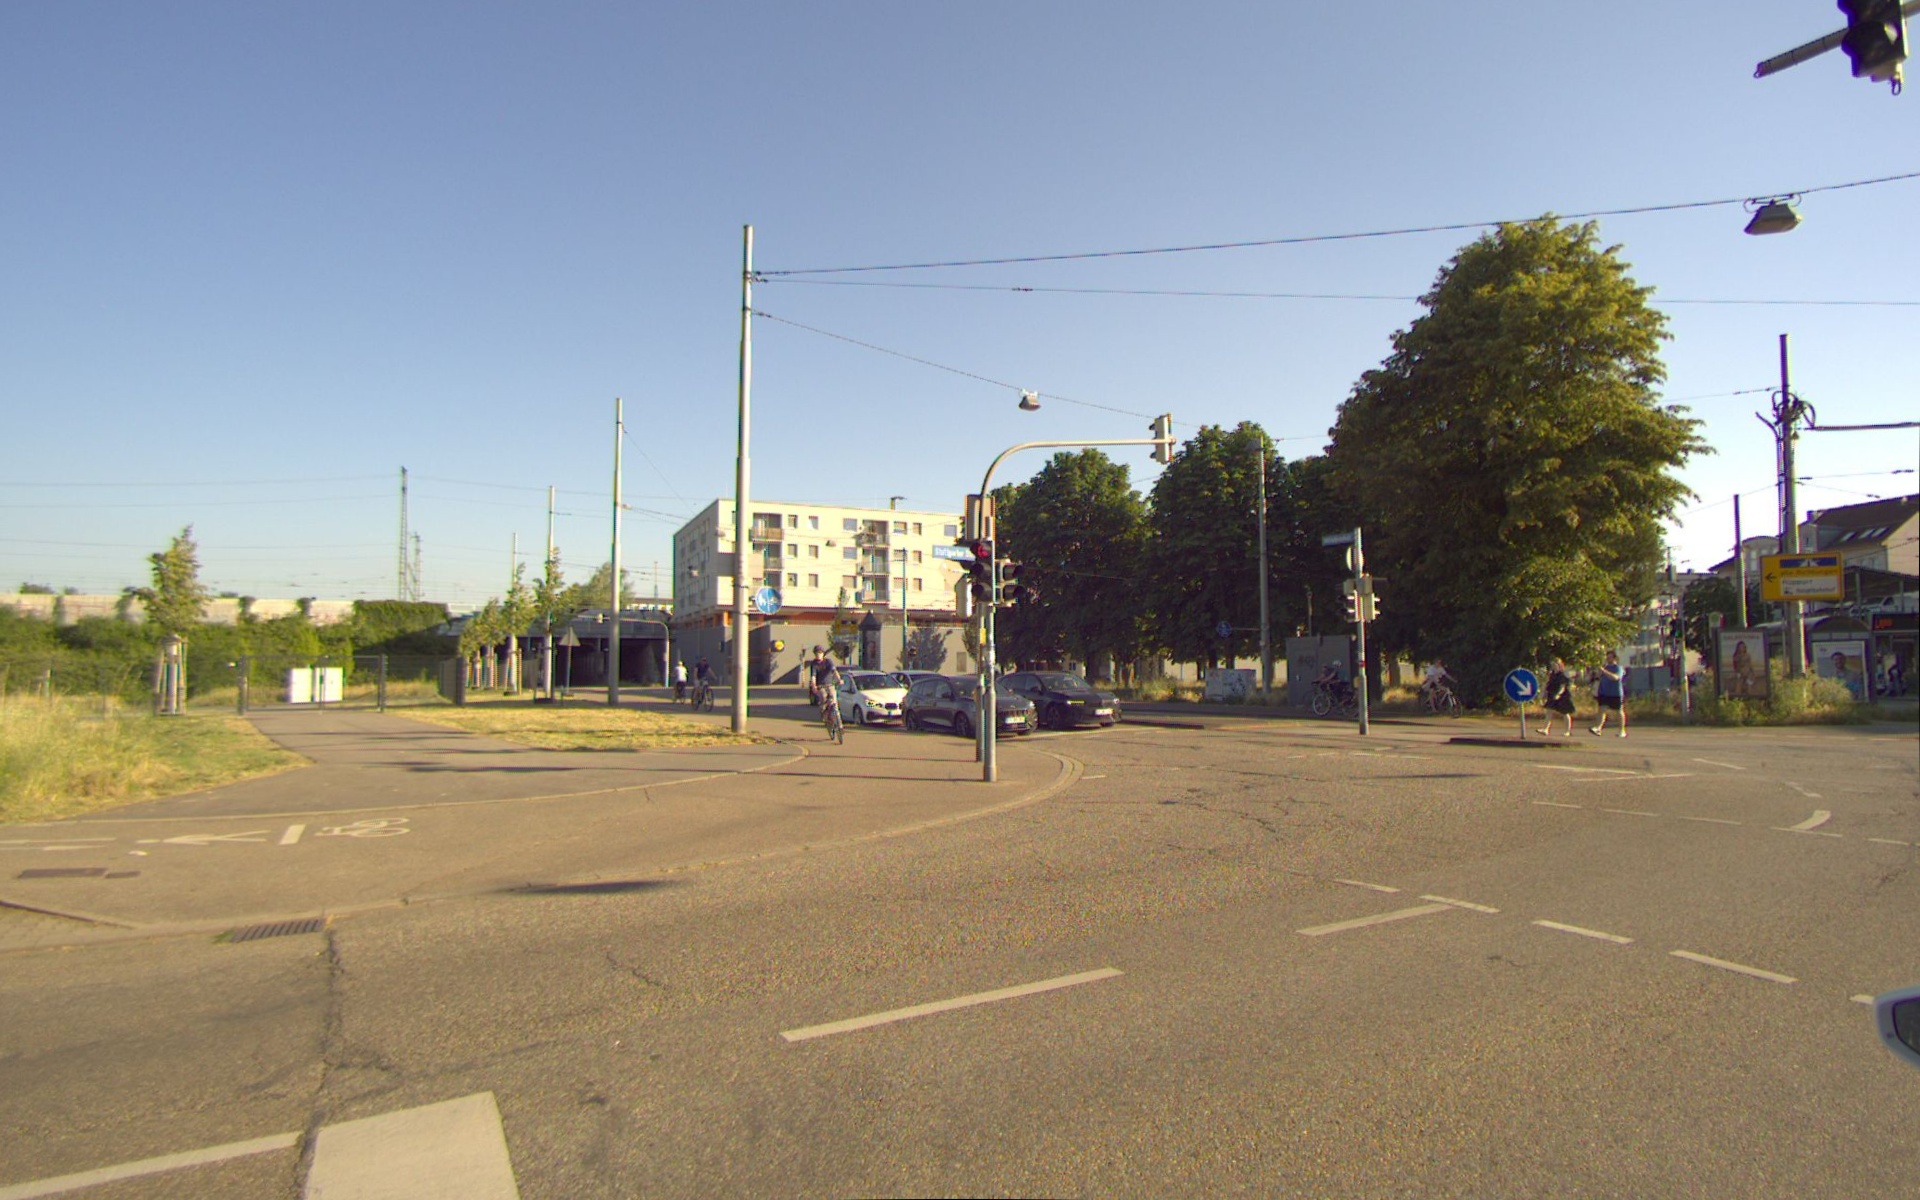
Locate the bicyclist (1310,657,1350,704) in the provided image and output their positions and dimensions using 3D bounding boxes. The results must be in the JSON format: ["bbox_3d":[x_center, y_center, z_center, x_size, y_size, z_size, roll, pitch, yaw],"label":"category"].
[{"bbox_3d":[12.355,2.688,33.563,0.656,1.551,1.024,3,-5,-44],"label":"bicyclist"}]

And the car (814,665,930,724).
[{"bbox_3d":[-2.703,2.747,29.833,1.975,1.587,4.246,2,-4,-27],"label":"car"}]

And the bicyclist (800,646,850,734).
[{"bbox_3d":[-2.632,1.733,19.498,0.863,1.645,0.970,1,-4,-14],"label":"bicyclist"}]

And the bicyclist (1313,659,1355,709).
[{"bbox_3d":[11.869,2.654,31.845,0.693,1.551,1.024,3,-5,-44],"label":"bicyclist"}]

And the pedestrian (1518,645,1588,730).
[{"bbox_3d":[12.865,1.883,21.788,1.056,1.769,0.906,2,-4,-34],"label":"pedestrian"}]

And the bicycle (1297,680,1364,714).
[{"bbox_3d":[12.309,3.204,33.450,0.659,1.083,1.994,3,-5,-43],"label":"bicycle"}]

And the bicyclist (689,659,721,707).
[{"bbox_3d":[-8.493,2.750,33.415,0.841,1.567,1.015,2,-4,-26],"label":"bicyclist"}]

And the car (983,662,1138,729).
[{"bbox_3d":[2.495,2.433,26.231,2.027,1.587,4.423,2,-4,-26],"label":"car"}]

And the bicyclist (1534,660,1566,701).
[{"bbox_3d":[24.285,3.306,41.321,0.871,1.673,0.669,1,-3,-11],"label":"bicyclist"}]

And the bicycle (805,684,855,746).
[{"bbox_3d":[-2.554,2.214,19.620,0.742,1.107,1.944,1,-4,-14],"label":"bicycle"}]

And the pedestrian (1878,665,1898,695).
[{"bbox_3d":[47.622,4.084,51.569,0.558,1.520,0.677,-2,-4,32],"label":"pedestrian"}]

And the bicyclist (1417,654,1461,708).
[{"bbox_3d":[15.082,2.534,31.639,0.704,1.650,1.036,2,-4,-24],"label":"bicyclist"}]

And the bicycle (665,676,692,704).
[{"bbox_3d":[-11.292,3.603,40.312,0.655,1.083,2.006,2,-4,-27],"label":"bicycle"}]

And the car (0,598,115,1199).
[{"bbox_3d":[-3.333,0.684,0.840,3.733,1.488,1.692,2,-4,-32],"label":"car"}]

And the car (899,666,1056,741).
[{"bbox_3d":[0.300,2.389,24.005,1.975,1.587,4.246,1,-4,-27],"label":"car"}]

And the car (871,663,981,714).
[{"bbox_3d":[-1.216,2.905,33.474,1.975,1.587,4.426,2,-4,-27],"label":"car"}]

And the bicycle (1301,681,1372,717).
[{"bbox_3d":[11.896,3.116,31.783,0.659,1.083,1.993,3,-5,-44],"label":"bicycle"}]

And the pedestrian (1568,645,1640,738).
[{"bbox_3d":[13.942,1.957,21.744,1.056,1.949,0.906,2,-4,-34],"label":"pedestrian"}]

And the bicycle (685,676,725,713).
[{"bbox_3d":[-8.502,3.115,33.428,0.782,1.164,2.278,2,-4,-26],"label":"bicycle"}]

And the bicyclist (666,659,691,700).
[{"bbox_3d":[-11.273,3.166,40.243,0.767,1.626,0.851,2,-4,-28],"label":"bicyclist"}]

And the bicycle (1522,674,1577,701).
[{"bbox_3d":[24.258,3.601,41.313,1.983,1.083,0.662,1,-4,-12],"label":"bicycle"}]

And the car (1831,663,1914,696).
[{"bbox_3d":[59.072,5.114,65.146,2.016,1.986,5.153,-4,-5,19],"label":"car"}]

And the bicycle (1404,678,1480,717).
[{"bbox_3d":[15.109,3.040,31.561,0.691,1.157,2.189,1,-4,-24],"label":"bicycle"}]
